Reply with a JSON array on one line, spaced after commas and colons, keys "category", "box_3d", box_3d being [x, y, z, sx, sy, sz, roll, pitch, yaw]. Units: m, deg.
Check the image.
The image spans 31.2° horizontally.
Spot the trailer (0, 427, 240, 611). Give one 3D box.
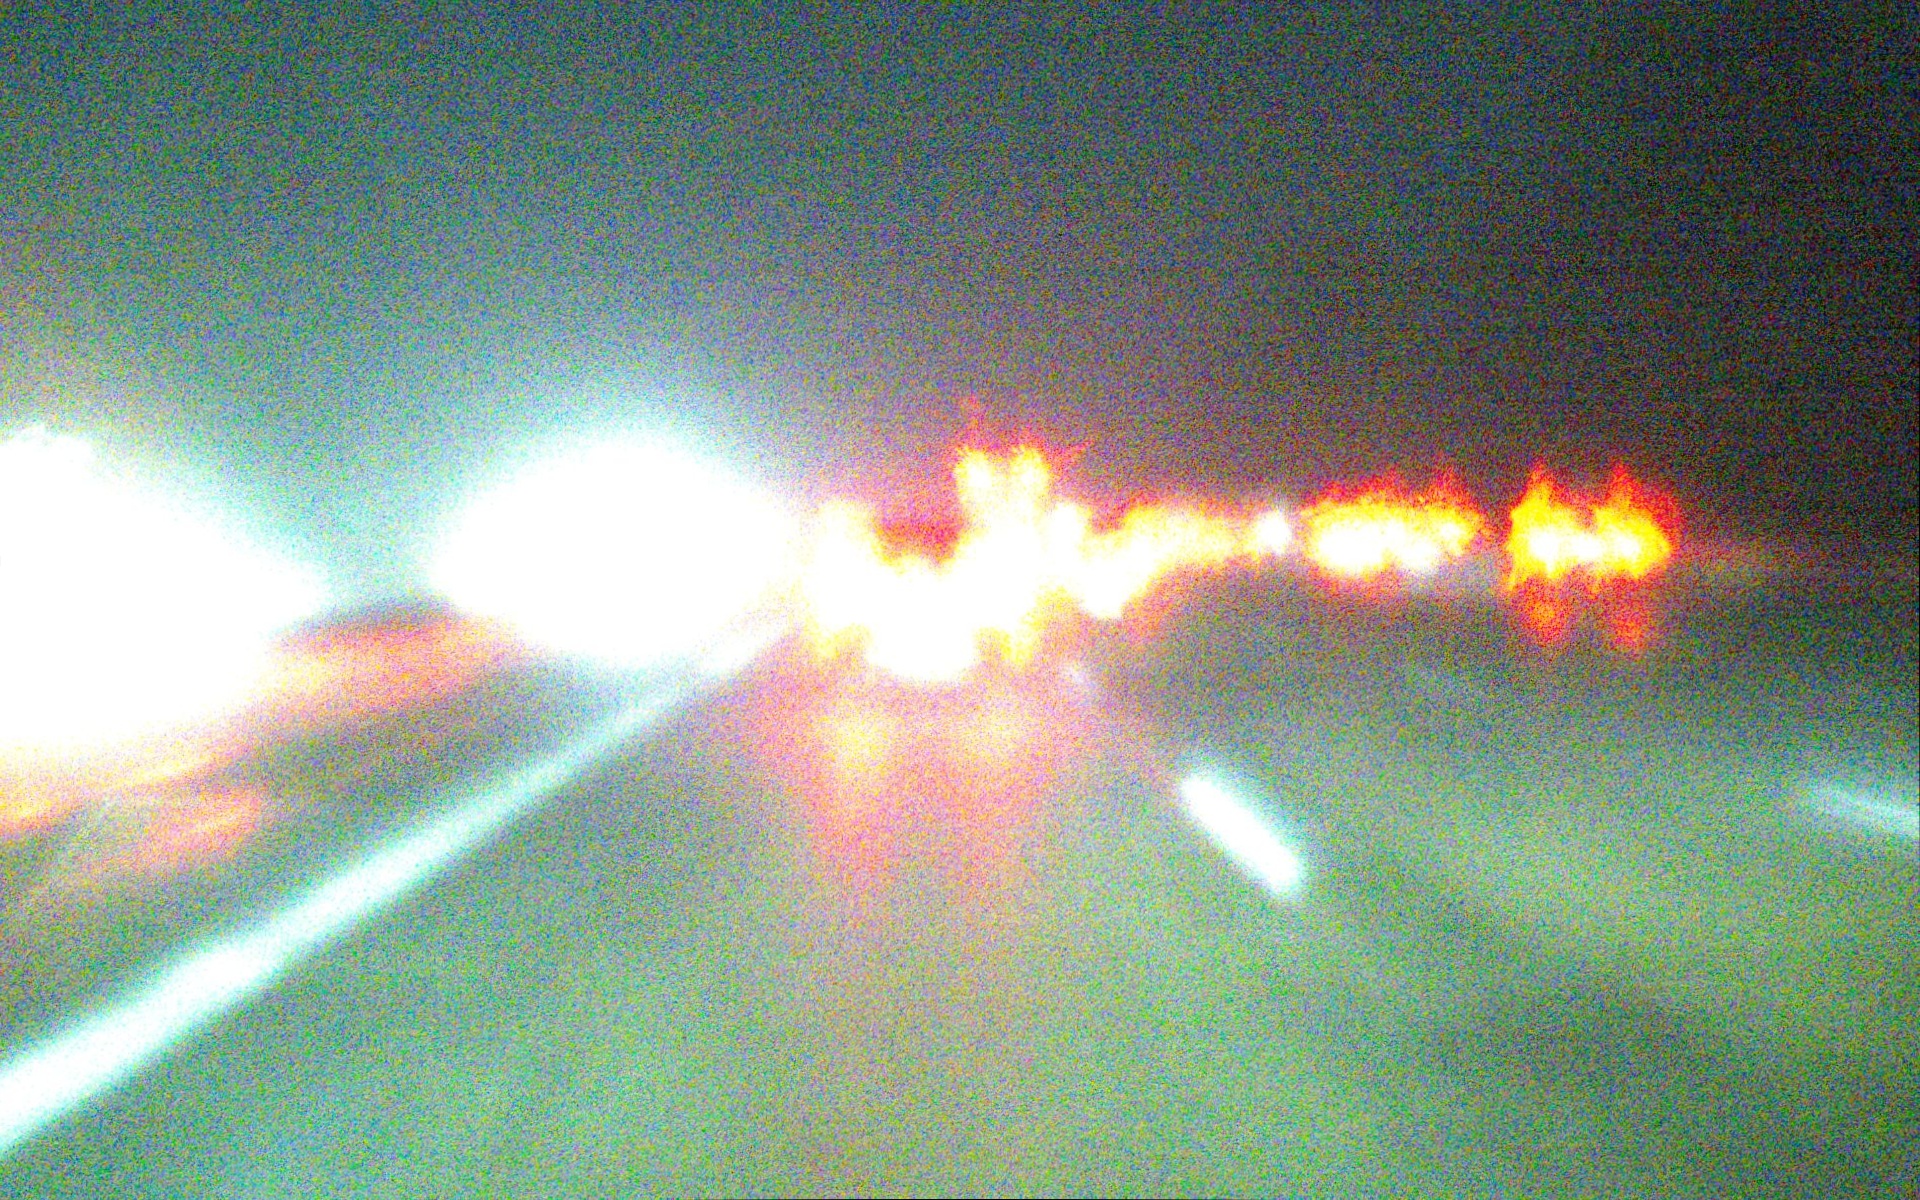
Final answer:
[{"category": "trailer", "box_3d": [-18.149, -1.692, 73.596, 2.640, 3.558, 14.157, 0, 1, 0]}]

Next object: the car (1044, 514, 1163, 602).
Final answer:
[{"category": "car", "box_3d": [2.759, -0.821, 66.935, 2.137, 1.612, 4.000, 1, 1, 0]}]

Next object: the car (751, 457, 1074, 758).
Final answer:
[{"category": "car", "box_3d": [-0.508, -0.021, 32.648, 2.709, 2.525, 5.832, -2, 2, -2]}]

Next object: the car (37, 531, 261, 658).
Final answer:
[{"category": "car", "box_3d": [-9.707, -0.101, 41.413, 1.779, 1.437, 4.000, -1, 1, -1]}]

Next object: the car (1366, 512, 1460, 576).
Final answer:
[{"category": "car", "box_3d": [12.000, -1.492, 91.237, 1.856, 1.612, 4.000, 1, 1, -1]}]

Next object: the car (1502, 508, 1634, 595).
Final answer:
[{"category": "car", "box_3d": [11.829, -0.955, 67.105, 1.856, 1.612, 4.000, 1, 1, 0]}]

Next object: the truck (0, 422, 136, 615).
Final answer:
[{"category": "truck", "box_3d": [-18.063, -1.567, 66.830, 2.640, 3.567, 6.176, 0, 1, 0]}]

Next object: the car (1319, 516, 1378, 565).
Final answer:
[{"category": "car", "box_3d": [12.872, -1.966, 114.009, 1.713, 1.553, 4.000, 1, 1, 4]}]
